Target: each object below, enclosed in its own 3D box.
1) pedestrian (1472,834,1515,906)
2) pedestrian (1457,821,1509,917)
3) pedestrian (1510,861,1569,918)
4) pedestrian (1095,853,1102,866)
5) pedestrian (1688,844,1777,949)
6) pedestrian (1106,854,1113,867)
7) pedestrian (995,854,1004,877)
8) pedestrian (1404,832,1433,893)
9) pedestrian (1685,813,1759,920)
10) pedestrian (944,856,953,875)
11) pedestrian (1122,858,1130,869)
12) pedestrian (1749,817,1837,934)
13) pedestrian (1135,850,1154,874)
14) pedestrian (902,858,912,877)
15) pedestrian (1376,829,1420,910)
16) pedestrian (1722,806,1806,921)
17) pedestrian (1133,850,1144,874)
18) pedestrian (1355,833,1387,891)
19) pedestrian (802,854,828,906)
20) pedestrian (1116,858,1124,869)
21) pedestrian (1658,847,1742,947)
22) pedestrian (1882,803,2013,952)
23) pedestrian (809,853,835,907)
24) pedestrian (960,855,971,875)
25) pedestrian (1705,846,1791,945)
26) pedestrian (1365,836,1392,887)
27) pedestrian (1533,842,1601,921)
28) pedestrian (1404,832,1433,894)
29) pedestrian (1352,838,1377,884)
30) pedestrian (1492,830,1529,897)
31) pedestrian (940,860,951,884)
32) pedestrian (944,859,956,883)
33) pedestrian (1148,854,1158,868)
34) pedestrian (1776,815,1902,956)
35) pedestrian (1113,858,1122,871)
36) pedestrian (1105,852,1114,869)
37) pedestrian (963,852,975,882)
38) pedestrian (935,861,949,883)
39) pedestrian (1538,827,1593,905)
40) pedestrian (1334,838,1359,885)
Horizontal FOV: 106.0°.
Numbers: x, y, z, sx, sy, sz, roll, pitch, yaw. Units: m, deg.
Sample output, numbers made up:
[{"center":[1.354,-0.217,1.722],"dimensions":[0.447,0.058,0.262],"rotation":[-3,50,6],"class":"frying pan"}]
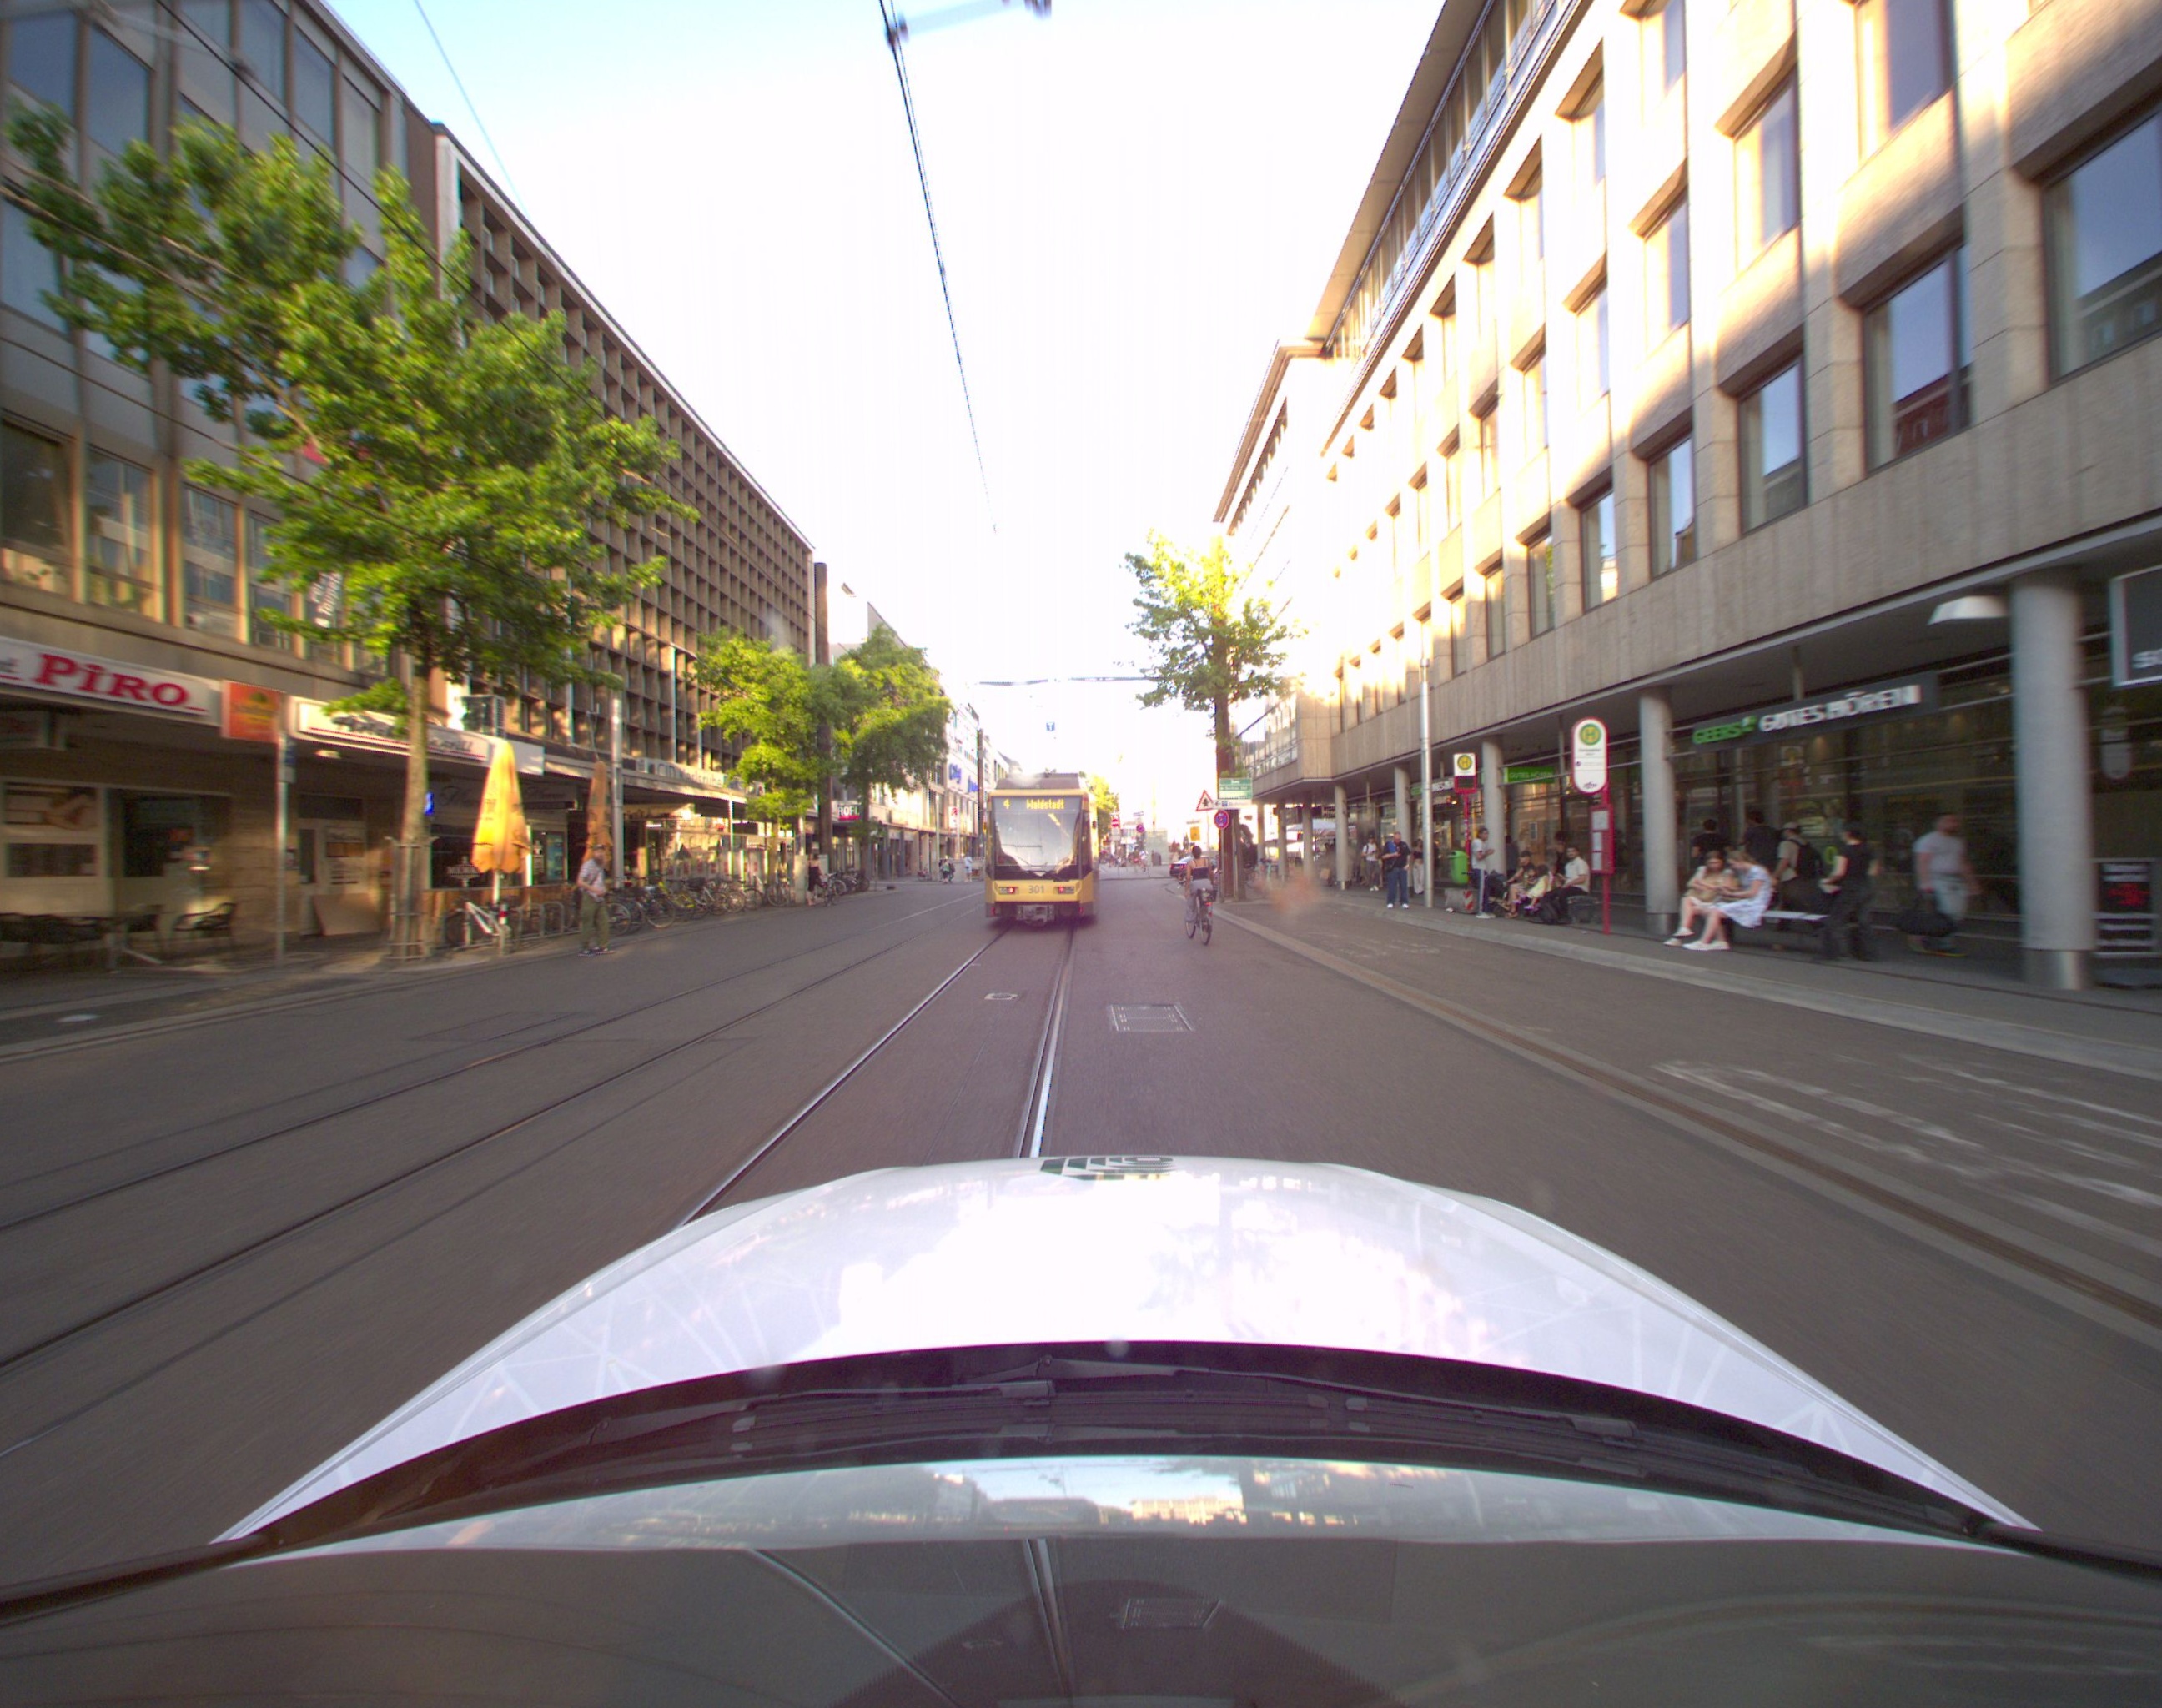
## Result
[{"center":[9.827,0.373,19.425],"dimensions":[0.646,1.661,0.650],"rotation":[-2,0,1],"class":"pedestrian"},{"center":[7.930,0.287,16.095],"dimensions":[0.637,1.839,0.668],"rotation":[-2,-1,1],"class":"pedestrian"},{"center":[8.678,0.666,15.433],"dimensions":[0.810,1.042,0.544],"rotation":[-1,-1,2],"class":"pedestrian"},{"center":[2.298,0.683,107.785],"dimensions":[0.761,1.661,0.797],"rotation":[-1,0,12],"class":"pedestrian"},{"center":[8.401,0.532,10.519],"dimensions":[0.715,1.314,0.524],"rotation":[-1,-1,2],"class":"pedestrian"},{"center":[3.619,0.859,104.004],"dimensions":[0.787,1.661,0.772],"rotation":[-1,0,12],"class":"pedestrian"},{"center":[-6.795,0.975,68.182],"dimensions":[0.712,1.925,0.708],"rotation":[-1,-1,-5],"class":"pedestrian"},{"center":[10.206,0.269,24.644],"dimensions":[0.537,1.806,0.604],"rotation":[-2,-1,-1],"class":"pedestrian"},{"center":[10.913,0.212,13.887],"dimensions":[0.580,1.753,0.773],"rotation":[-2,-1,-1],"class":"pedestrian"},{"center":[-12.077,1.030,74.296],"dimensions":[0.711,1.725,0.709],"rotation":[-1,-1,-1],"class":"pedestrian"},{"center":[4.993,1.069,90.955],"dimensions":[0.790,1.221,0.768],"rotation":[-1,0,-3],"class":"pedestrian"},{"center":[10.532,0.309,12.072],"dimensions":[0.645,1.661,0.681],"rotation":[-2,0,2],"class":"pedestrian"},{"center":[4.997,0.636,64.075],"dimensions":[1.020,1.863,1.032],"rotation":[0,-1,-32],"class":"pedestrian"},{"center":[-16.390,1.247,76.686],"dimensions":[0.711,1.725,0.709],"rotation":[-1,-1,-1],"class":"pedestrian"},{"center":[7.417,0.364,19.072],"dimensions":[0.666,1.839,0.708],"rotation":[-2,-1,0],"class":"pedestrian"},{"center":[11.572,0.159,13.821],"dimensions":[0.685,1.883,0.773],"rotation":[-2,-1,-1],"class":"pedestrian"},{"center":[4.317,0.608,61.445],"dimensions":[0.716,1.725,0.709],"rotation":[-1,-1,0],"class":"pedestrian"},{"center":[9.605,0.267,26.991],"dimensions":[0.666,1.839,0.880],"rotation":[-2,-1,0],"class":"pedestrian"},{"center":[-8.788,0.843,26.956],"dimensions":[0.595,1.699,0.539],"rotation":[-1,0,29],"class":"pedestrian"},{"center":[4.400,1.084,91.758],"dimensions":[0.790,1.221,0.768],"rotation":[-1,0,-3],"class":"pedestrian"},{"center":[8.389,0.568,11.053],"dimensions":[0.715,1.314,0.532],"rotation":[-1,-1,2],"class":"pedestrian"},{"center":[10.163,0.265,9.579],"dimensions":[0.685,1.661,0.722],"rotation":[-2,-1,2],"class":"pedestrian"},{"center":[-8.419,0.833,26.458],"dimensions":[0.595,1.699,0.539],"rotation":[-1,0,29],"class":"pedestrian"},{"center":[-10.036,0.969,70.789],"dimensions":[0.632,1.725,0.598],"rotation":[0,-2,-43],"class":"pedestrian"},{"center":[9.128,0.561,11.164],"dimensions":[0.715,1.314,0.532],"rotation":[-1,-1,2],"class":"pedestrian"},{"center":[10.737,0.260,29.436],"dimensions":[0.660,1.787,0.719],"rotation":[-2,-1,1],"class":"pedestrian"},{"center":[8.689,0.484,14.582],"dimensions":[0.810,1.381,0.662],"rotation":[-1,-1,2],"class":"pedestrian"},{"center":[10.002,0.267,24.157],"dimensions":[0.537,1.806,0.604],"rotation":[-2,-1,-1],"class":"pedestrian"},{"center":[11.149,0.282,32.029],"dimensions":[0.660,1.787,0.719],"rotation":[-2,-1,1],"class":"pedestrian"},{"center":[11.351,0.240,21.525],"dimensions":[0.568,1.731,0.617],"rotation":[-2,-1,-1],"class":"pedestrian"},{"center":[-8.626,1.159,51.856],"dimensions":[0.603,1.494,0.554],"rotation":[-1,-1,-8],"class":"pedestrian"},{"center":[-8.469,1.112,52.664],"dimensions":[0.683,1.542,0.604],"rotation":[-1,-1,-7],"class":"pedestrian"},{"center":[8.457,0.815,95.273],"dimensions":[0.773,1.661,0.785],"rotation":[-1,-1,-41],"class":"pedestrian"},{"center":[8.858,0.358,9.547],"dimensions":[0.721,1.570,0.736],"rotation":[-2,-1,2],"class":"pedestrian"},{"center":[4.334,1.215,95.950],"dimensions":[0.759,1.579,0.800],"rotation":[-1,0,30],"class":"pedestrian"},{"center":[3.098,0.734,87.846],"dimensions":[0.734,1.823,0.816],"rotation":[-1,-1,-14],"class":"pedestrian"},{"center":[-7.491,0.861,54.451],"dimensions":[0.772,1.926,0.707],"rotation":[-1,-1,-8],"class":"pedestrian"},{"center":[-9.444,1.217,55.293],"dimensions":[0.548,1.434,0.689],"rotation":[-3,-2,38],"class":"pedestrian"},{"center":[11.481,0.283,19.316],"dimensions":[0.770,1.772,0.774],"rotation":[-2,-1,-1],"class":"pedestrian"},{"center":[10.419,0.289,31.954],"dimensions":[0.660,1.787,0.719],"rotation":[-2,-1,1],"class":"pedestrian"}]
